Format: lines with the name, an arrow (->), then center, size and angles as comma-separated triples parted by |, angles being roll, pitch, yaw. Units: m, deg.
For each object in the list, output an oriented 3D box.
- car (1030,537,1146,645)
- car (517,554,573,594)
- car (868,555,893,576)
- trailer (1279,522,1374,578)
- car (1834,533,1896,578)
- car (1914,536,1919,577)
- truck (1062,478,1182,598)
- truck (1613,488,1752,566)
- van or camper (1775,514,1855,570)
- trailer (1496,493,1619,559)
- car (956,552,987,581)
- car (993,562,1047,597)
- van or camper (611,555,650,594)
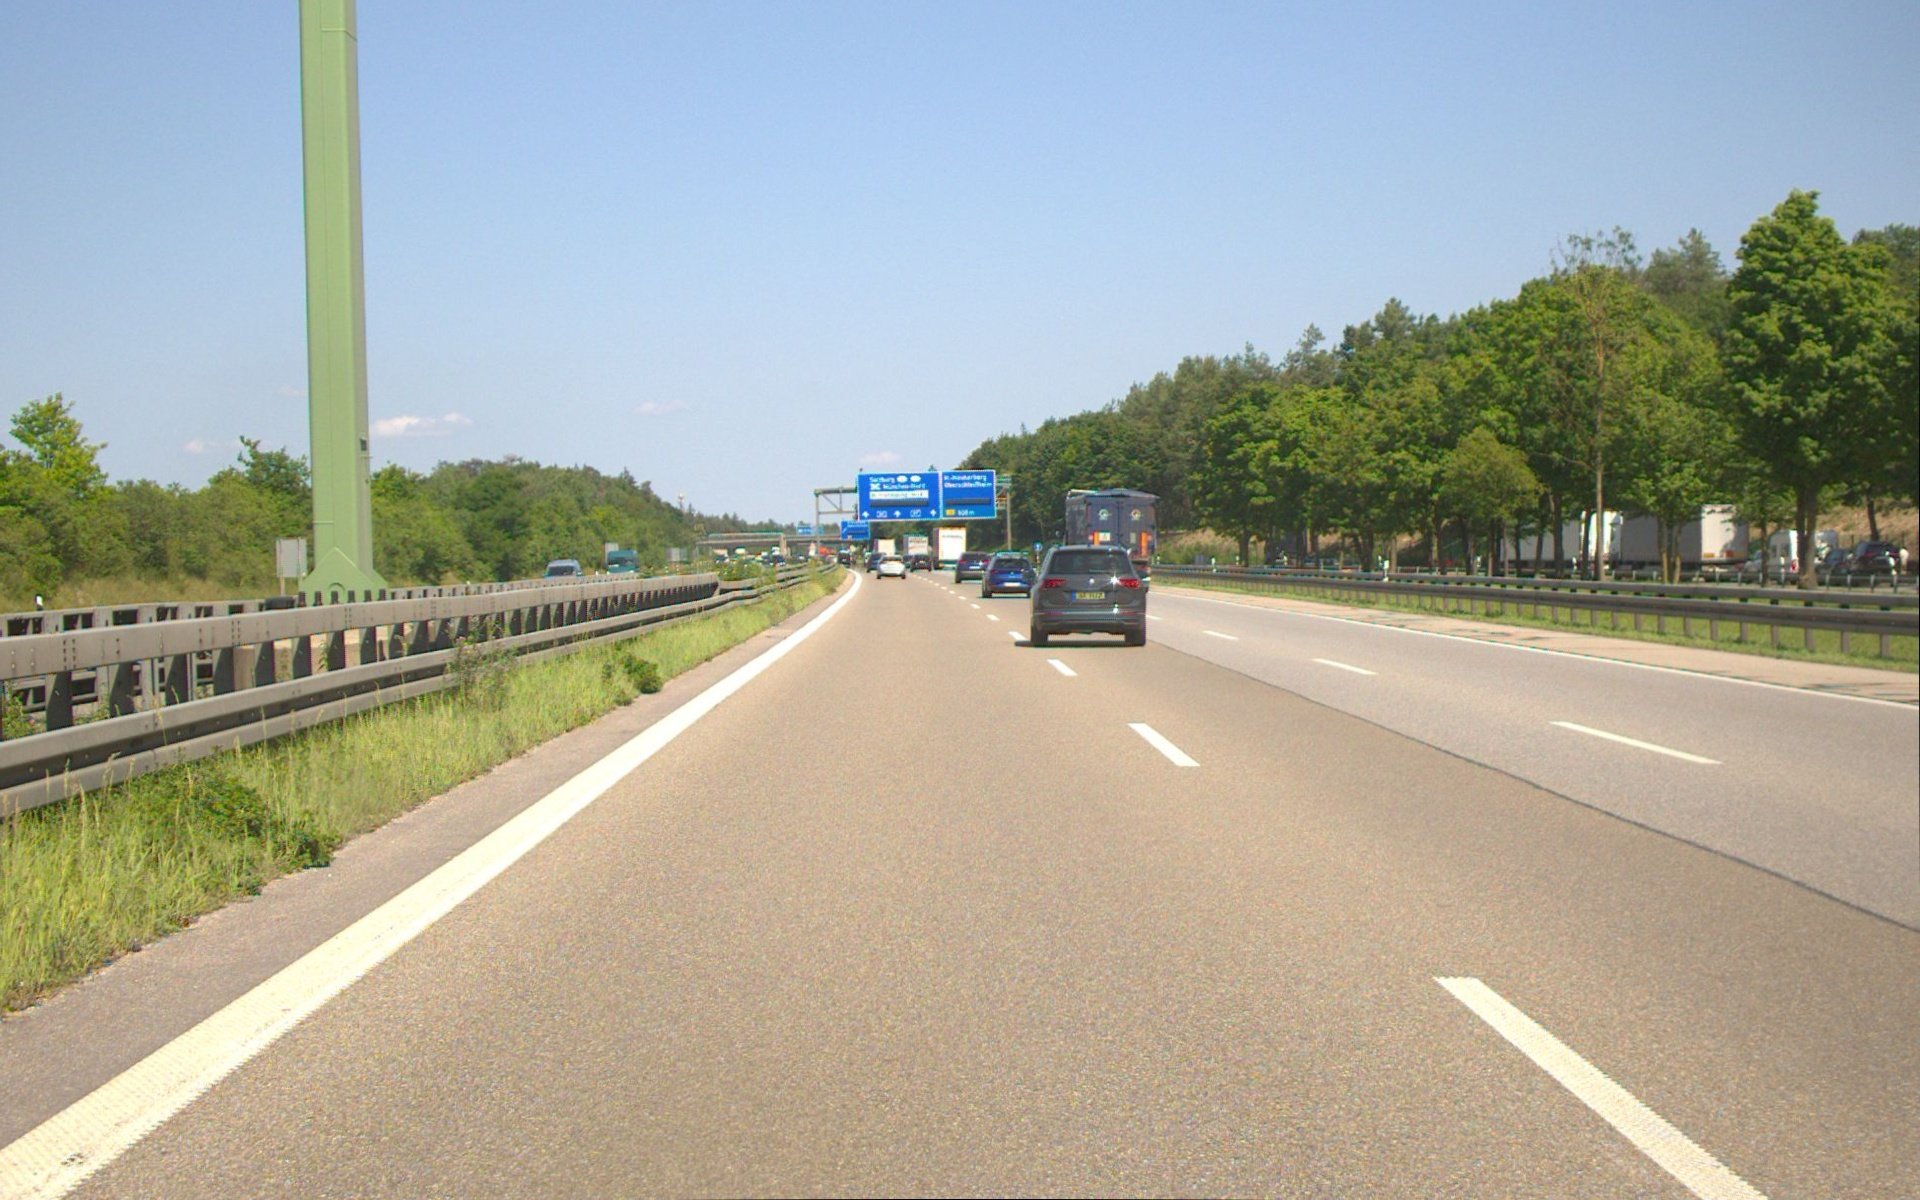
car -> 2.087, -0.181, 56.097 | 1.799, 1.663, 4.258 | 1, 1, 2
car -> -20.553, -1.316, 170.428 | 1.993, 1.829, 5.333 | -3, 1, 0
car -> -4.862, -2.110, 209.359 | 1.471, 1.223, 3.410 | -1, 1, -1
trailer -> 26.235, -3.578, 246.748 | 2.571, 3.901, 12.753 | 0, 1, -14
car -> 38.877, -1.919, 147.830 | 1.656, 1.871, 4.800 | 0, 1, 3
car -> 39.734, -1.749, 137.993 | 1.656, 1.670, 4.652 | 0, 1, 0
truck -> 6.154, -2.378, 133.176 | 3.780, 4.407, 14.051 | 0, 1, -1
truck -> 38.013, -3.781, 181.493 | 2.995, 3.918, 14.463 | 0, 1, -5
van or camper -> 39.901, -2.687, 160.521 | 2.203, 2.522, 5.876 | 0, 1, -1
trailer -> 35.040, -4.291, 202.306 | 2.857, 3.784, 14.193 | 0, 1, -8
car -> 0.570, -1.721, 175.399 | 1.471, 1.393, 3.410 | 2, 1, -1
car -> 2.025, -0.700, 116.542 | 1.708, 1.151, 3.689 | -1, 1, -1
van or camper -> -21.443, -1.667, 223.739 | 1.993, 2.384, 6.241 | -2, 1, -1
